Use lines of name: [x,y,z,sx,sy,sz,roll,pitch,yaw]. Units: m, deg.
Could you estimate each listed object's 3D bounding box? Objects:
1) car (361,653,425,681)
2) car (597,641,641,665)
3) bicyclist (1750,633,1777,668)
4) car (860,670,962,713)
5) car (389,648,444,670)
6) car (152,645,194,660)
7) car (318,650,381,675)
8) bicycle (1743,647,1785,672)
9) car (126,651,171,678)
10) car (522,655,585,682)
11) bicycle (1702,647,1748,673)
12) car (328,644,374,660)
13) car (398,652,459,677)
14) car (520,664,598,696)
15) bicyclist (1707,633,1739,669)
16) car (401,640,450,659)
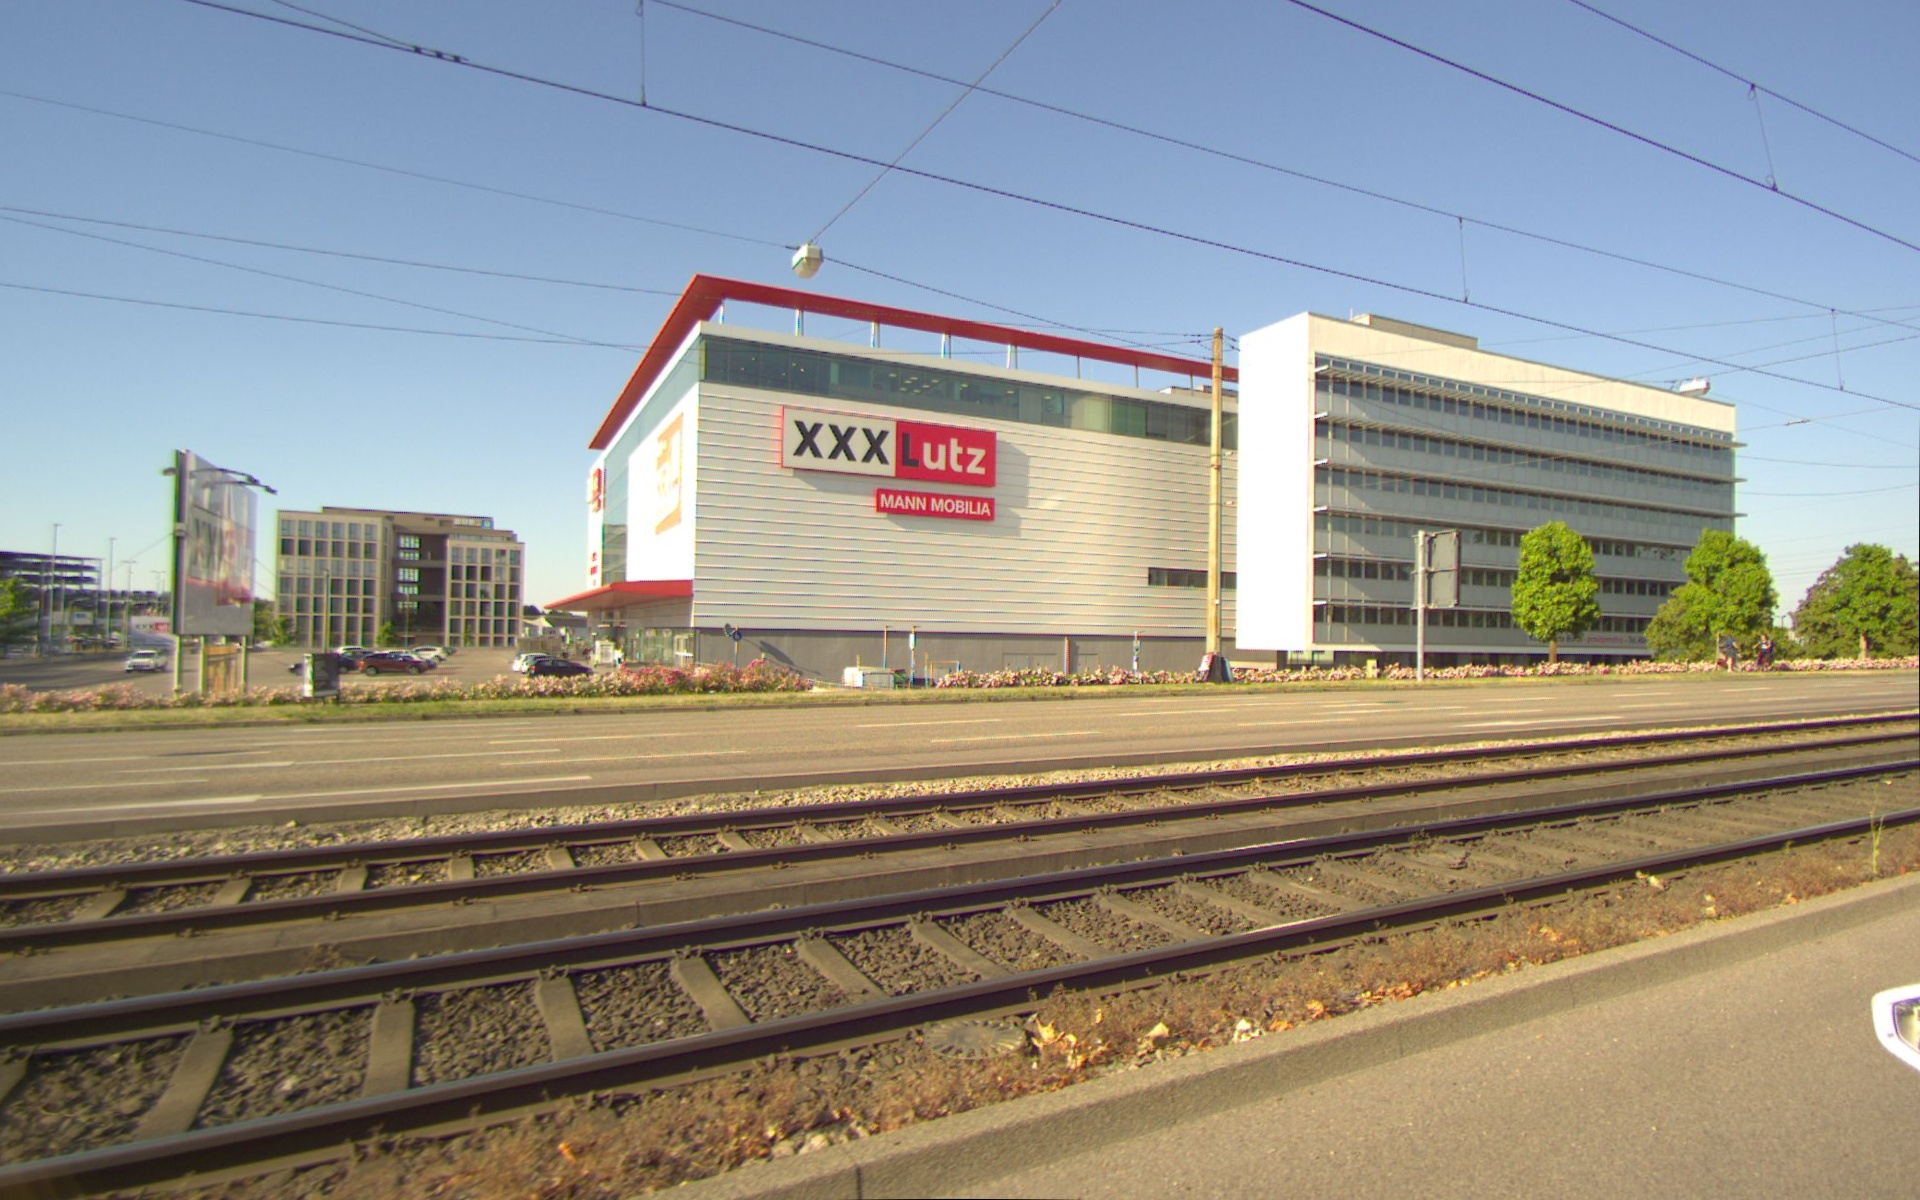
car: [-40.886,4.815,72.564,3.952,1.838,1.984,1,1,-30]
car: [-27.878,4.317,82.140,3.247,1.880,1.500,1,1,-27]
bicyclist: [39.237,2.448,49.042,0.789,1.645,0.660,1,1,-19]
car: [-1.490,2.759,30.551,2.800,1.087,1.321,1,1,-27]
car: [-45.444,4.913,83.997,3.956,1.640,1.863,1,1,-32]
car: [-102.751,6.779,131.144,3.949,1.805,1.986,1,1,-28]
car: [-45.631,4.662,75.180,3.952,1.725,1.965,1,1,-30]
bicycle: [39.282,2.889,49.068,1.991,1.166,0.660,1,1,-19]
car: [-64.227,5.081,79.553,1.802,1.824,4.203,1,1,-25]
car: [-29.042,4.892,71.754,3.952,1.725,1.912,1,1,-30]
bicycle: [34.105,2.661,44.760,1.998,1.088,0.703,1,1,-22]
car: [-63.693,5.415,105.121,3.948,1.468,1.867,1,1,-27]
car: [-40.238,4.845,76.036,3.956,1.640,1.863,1,1,-32]
car: [-25.396,5.040,63.691,4.395,1.725,1.912,1,1,-30]
bicyclist: [33.969,2.267,44.700,0.956,1.532,0.703,1,1,-22]
car: [-51.065,4.686,96.035,3.960,1.640,1.861,1,1,-35]
